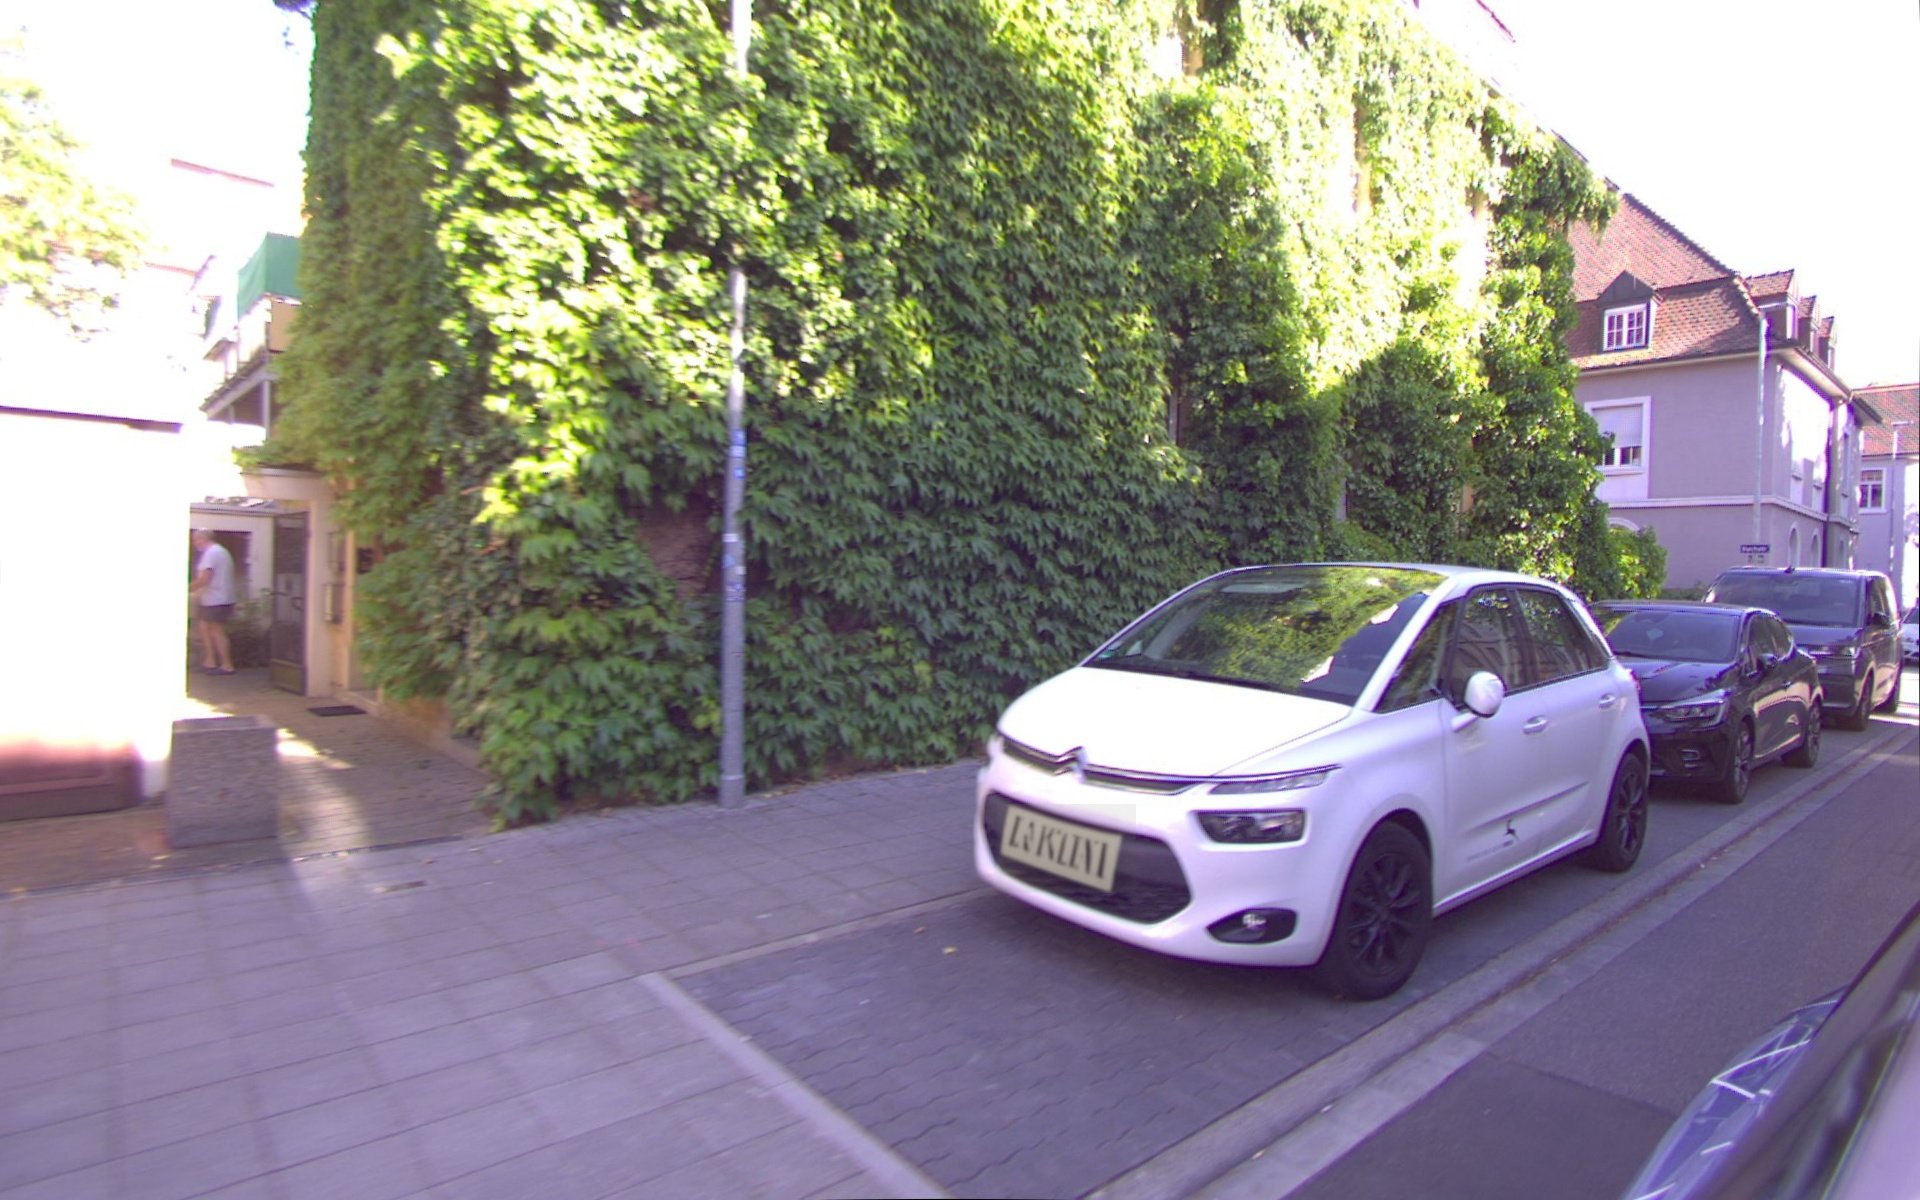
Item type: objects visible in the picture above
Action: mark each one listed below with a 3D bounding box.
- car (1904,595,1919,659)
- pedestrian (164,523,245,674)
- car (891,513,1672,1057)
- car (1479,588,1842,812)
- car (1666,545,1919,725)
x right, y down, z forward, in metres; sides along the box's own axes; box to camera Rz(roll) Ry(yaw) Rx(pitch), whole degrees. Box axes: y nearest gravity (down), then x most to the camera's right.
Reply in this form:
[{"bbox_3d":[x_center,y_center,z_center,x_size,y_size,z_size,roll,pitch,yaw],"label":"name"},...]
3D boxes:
[{"bbox_3d":[25.395,0.686,25.701,4.037,1.574,1.811,0,1,-44],"label":"car"},{"bbox_3d":[-9.396,-0.021,12.580,0.752,1.806,0.601,-1,0,-41],"label":"pedestrian"},{"bbox_3d":[1.870,0.527,5.148,4.125,1.665,1.871,0,2,-41],"label":"car"},{"bbox_3d":[6.113,0.660,8.659,3.939,1.439,1.640,0,2,-42],"label":"car"},{"bbox_3d":[11.008,0.344,13.162,4.766,1.932,1.856,0,2,-41],"label":"car"}]
